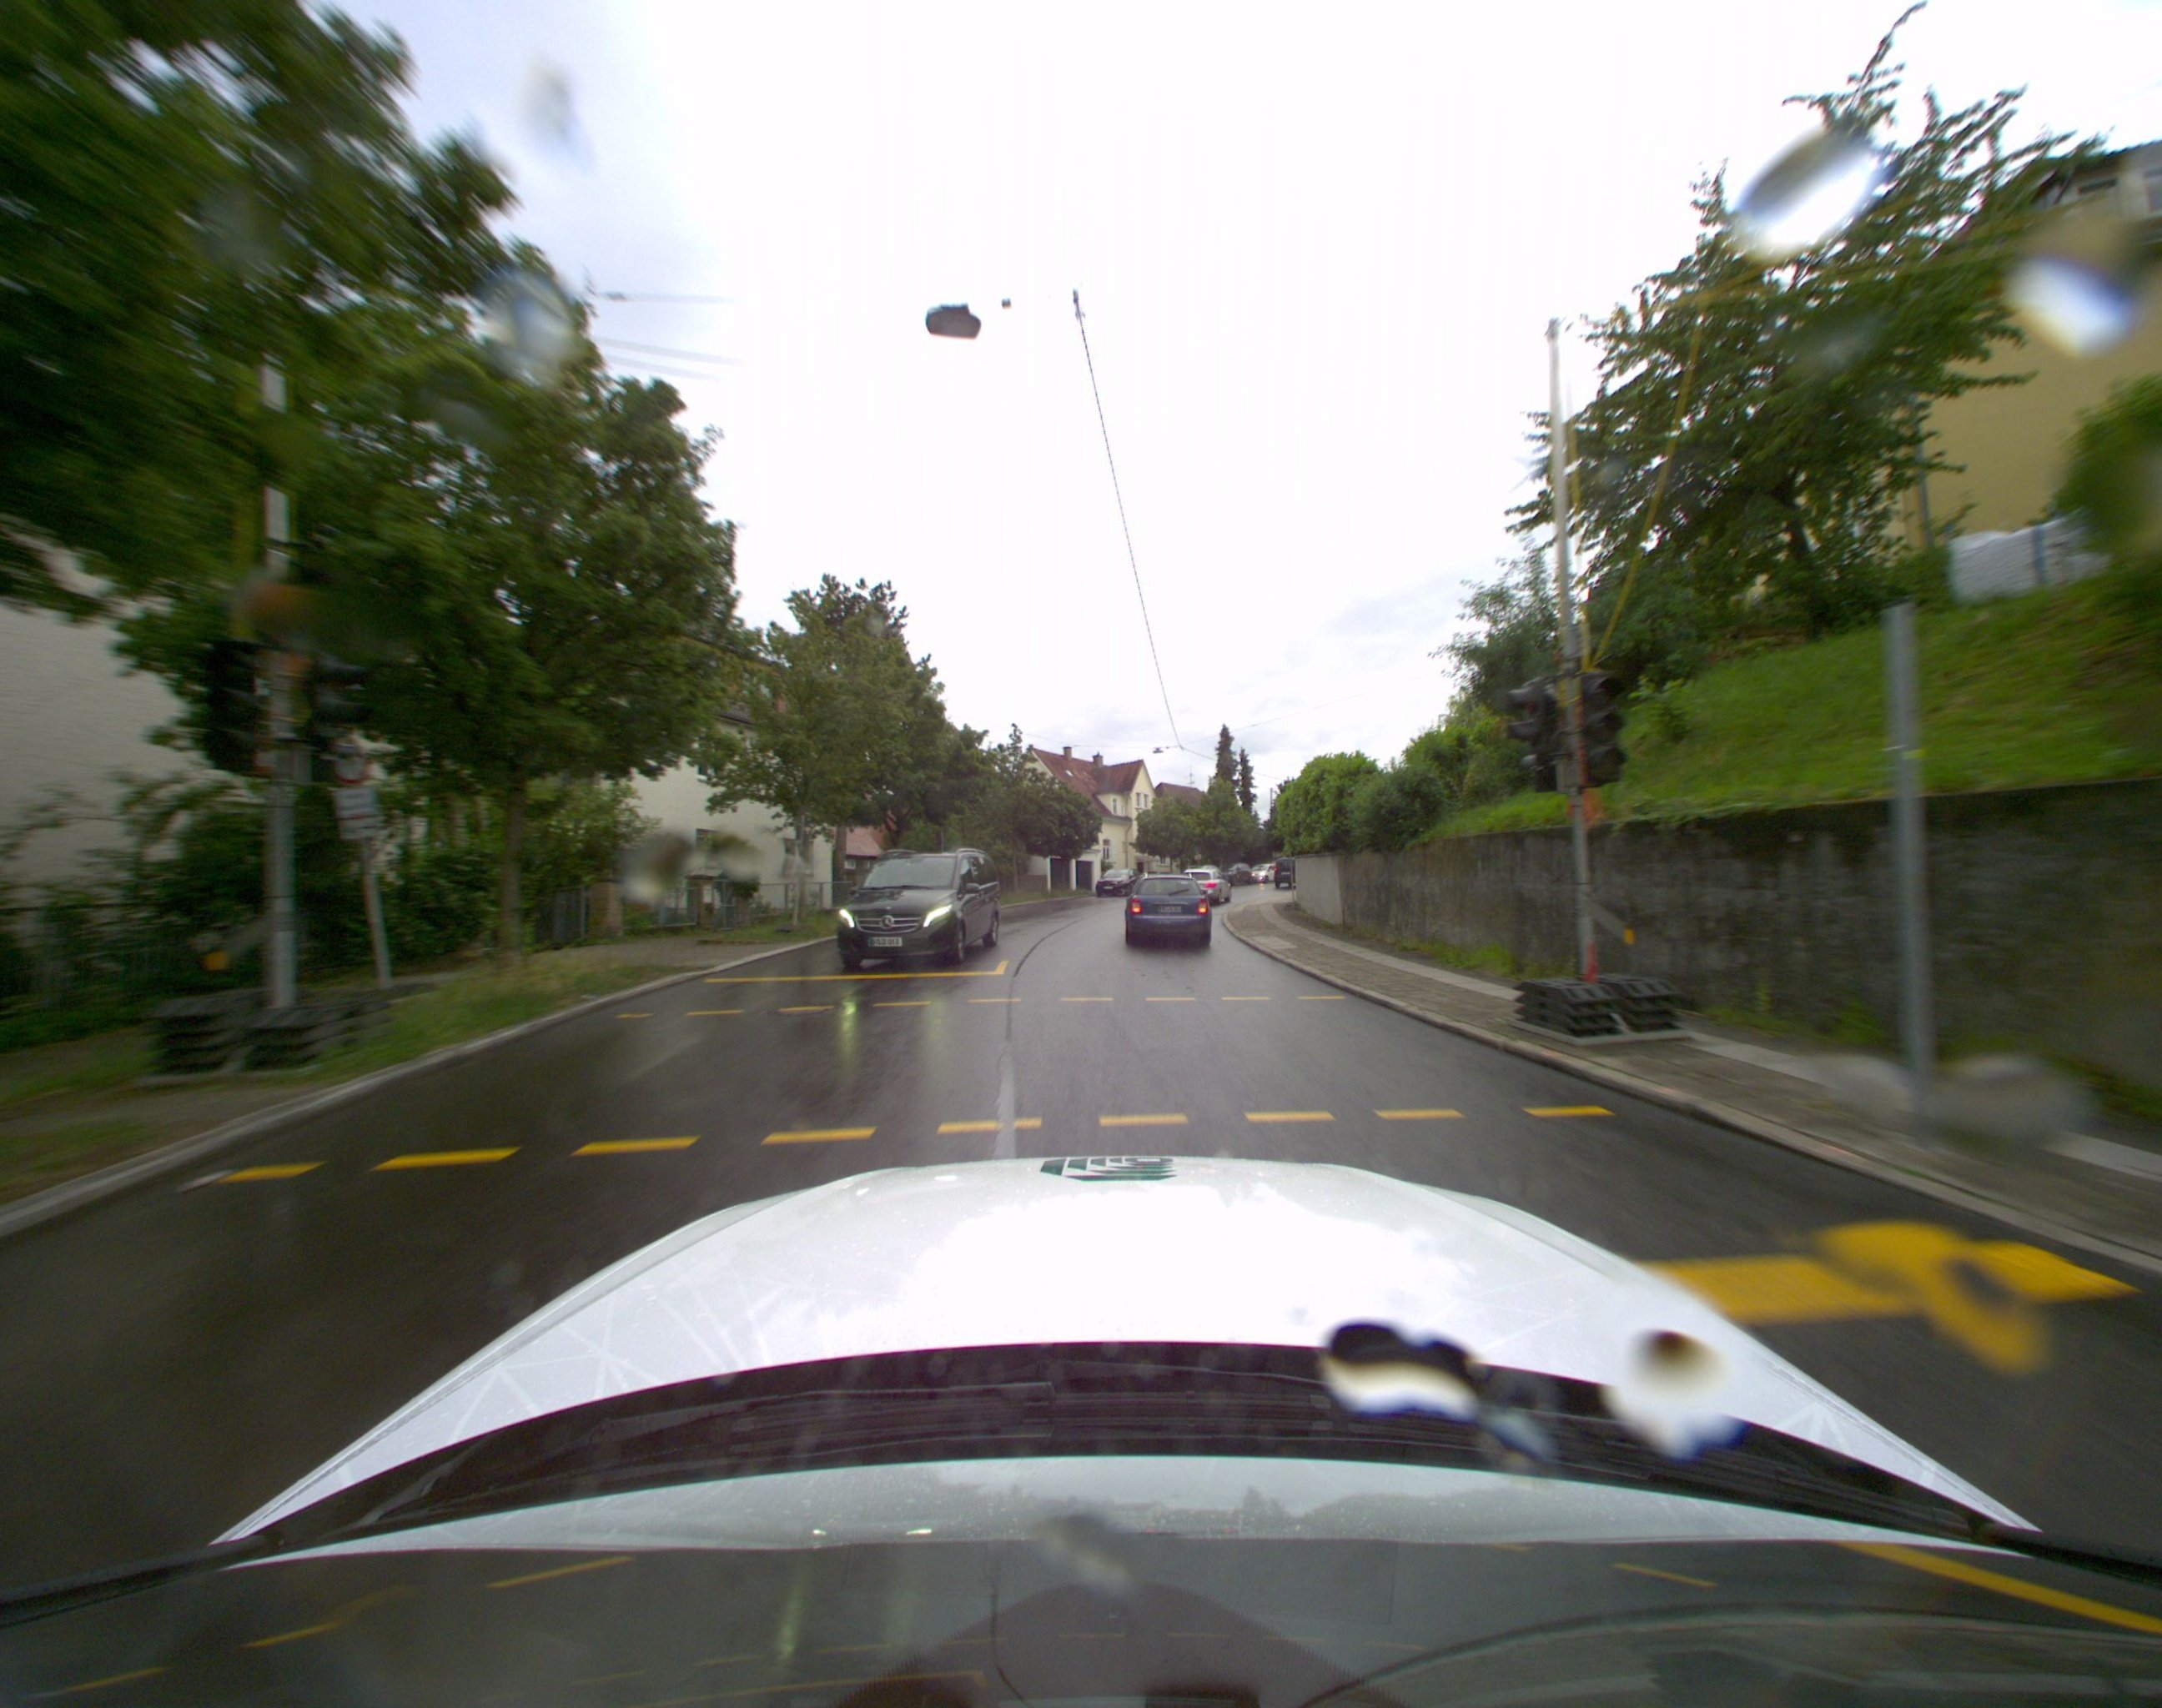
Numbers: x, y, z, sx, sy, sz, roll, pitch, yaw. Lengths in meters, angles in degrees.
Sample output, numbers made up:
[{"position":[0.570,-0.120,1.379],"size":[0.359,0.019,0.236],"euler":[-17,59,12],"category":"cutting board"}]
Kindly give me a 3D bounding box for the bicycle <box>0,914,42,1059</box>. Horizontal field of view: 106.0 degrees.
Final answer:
[{"position":[-9.822,1.204,6.488],"size":[0.490,1.272,2.265],"euler":[0,0,-10],"category":"bicycle"}]

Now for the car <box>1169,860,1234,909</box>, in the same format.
[{"position":[5.129,1.222,34.098],"size":[1.960,1.635,4.255],"euler":[-3,1,17],"category":"car"}]

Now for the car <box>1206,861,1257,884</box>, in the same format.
[{"position":[10.785,1.291,58.145],"size":[1.716,1.545,4.237],"euler":[-3,-2,38],"category":"car"}]

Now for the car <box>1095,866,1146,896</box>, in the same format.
[{"position":[2.180,1.411,43.821],"size":[1.656,1.466,3.913],"euler":[-3,-2,19],"category":"car"}]

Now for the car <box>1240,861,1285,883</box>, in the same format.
[{"position":[13.851,1.376,61.993],"size":[1.716,1.466,4.026],"euler":[-3,-1,38],"category":"car"}]

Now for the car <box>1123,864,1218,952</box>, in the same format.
[{"position":[1.823,1.054,17.596],"size":[1.726,1.466,4.004],"euler":[-4,1,3],"category":"car"}]

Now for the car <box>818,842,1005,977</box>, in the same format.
[{"position":[-2.734,0.859,14.553],"size":[1.888,1.889,5.157],"euler":[-3,-1,3],"category":"car"}]

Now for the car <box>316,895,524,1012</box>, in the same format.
[{"position":[-14.004,2.106,17.244],"size":[3.952,1.584,1.866],"euler":[-15,-7,26],"category":"car"}]

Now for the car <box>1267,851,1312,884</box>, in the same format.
[{"position":[13.252,0.815,51.606],"size":[1.717,1.768,4.261],"euler":[-3,1,27],"category":"car"}]
